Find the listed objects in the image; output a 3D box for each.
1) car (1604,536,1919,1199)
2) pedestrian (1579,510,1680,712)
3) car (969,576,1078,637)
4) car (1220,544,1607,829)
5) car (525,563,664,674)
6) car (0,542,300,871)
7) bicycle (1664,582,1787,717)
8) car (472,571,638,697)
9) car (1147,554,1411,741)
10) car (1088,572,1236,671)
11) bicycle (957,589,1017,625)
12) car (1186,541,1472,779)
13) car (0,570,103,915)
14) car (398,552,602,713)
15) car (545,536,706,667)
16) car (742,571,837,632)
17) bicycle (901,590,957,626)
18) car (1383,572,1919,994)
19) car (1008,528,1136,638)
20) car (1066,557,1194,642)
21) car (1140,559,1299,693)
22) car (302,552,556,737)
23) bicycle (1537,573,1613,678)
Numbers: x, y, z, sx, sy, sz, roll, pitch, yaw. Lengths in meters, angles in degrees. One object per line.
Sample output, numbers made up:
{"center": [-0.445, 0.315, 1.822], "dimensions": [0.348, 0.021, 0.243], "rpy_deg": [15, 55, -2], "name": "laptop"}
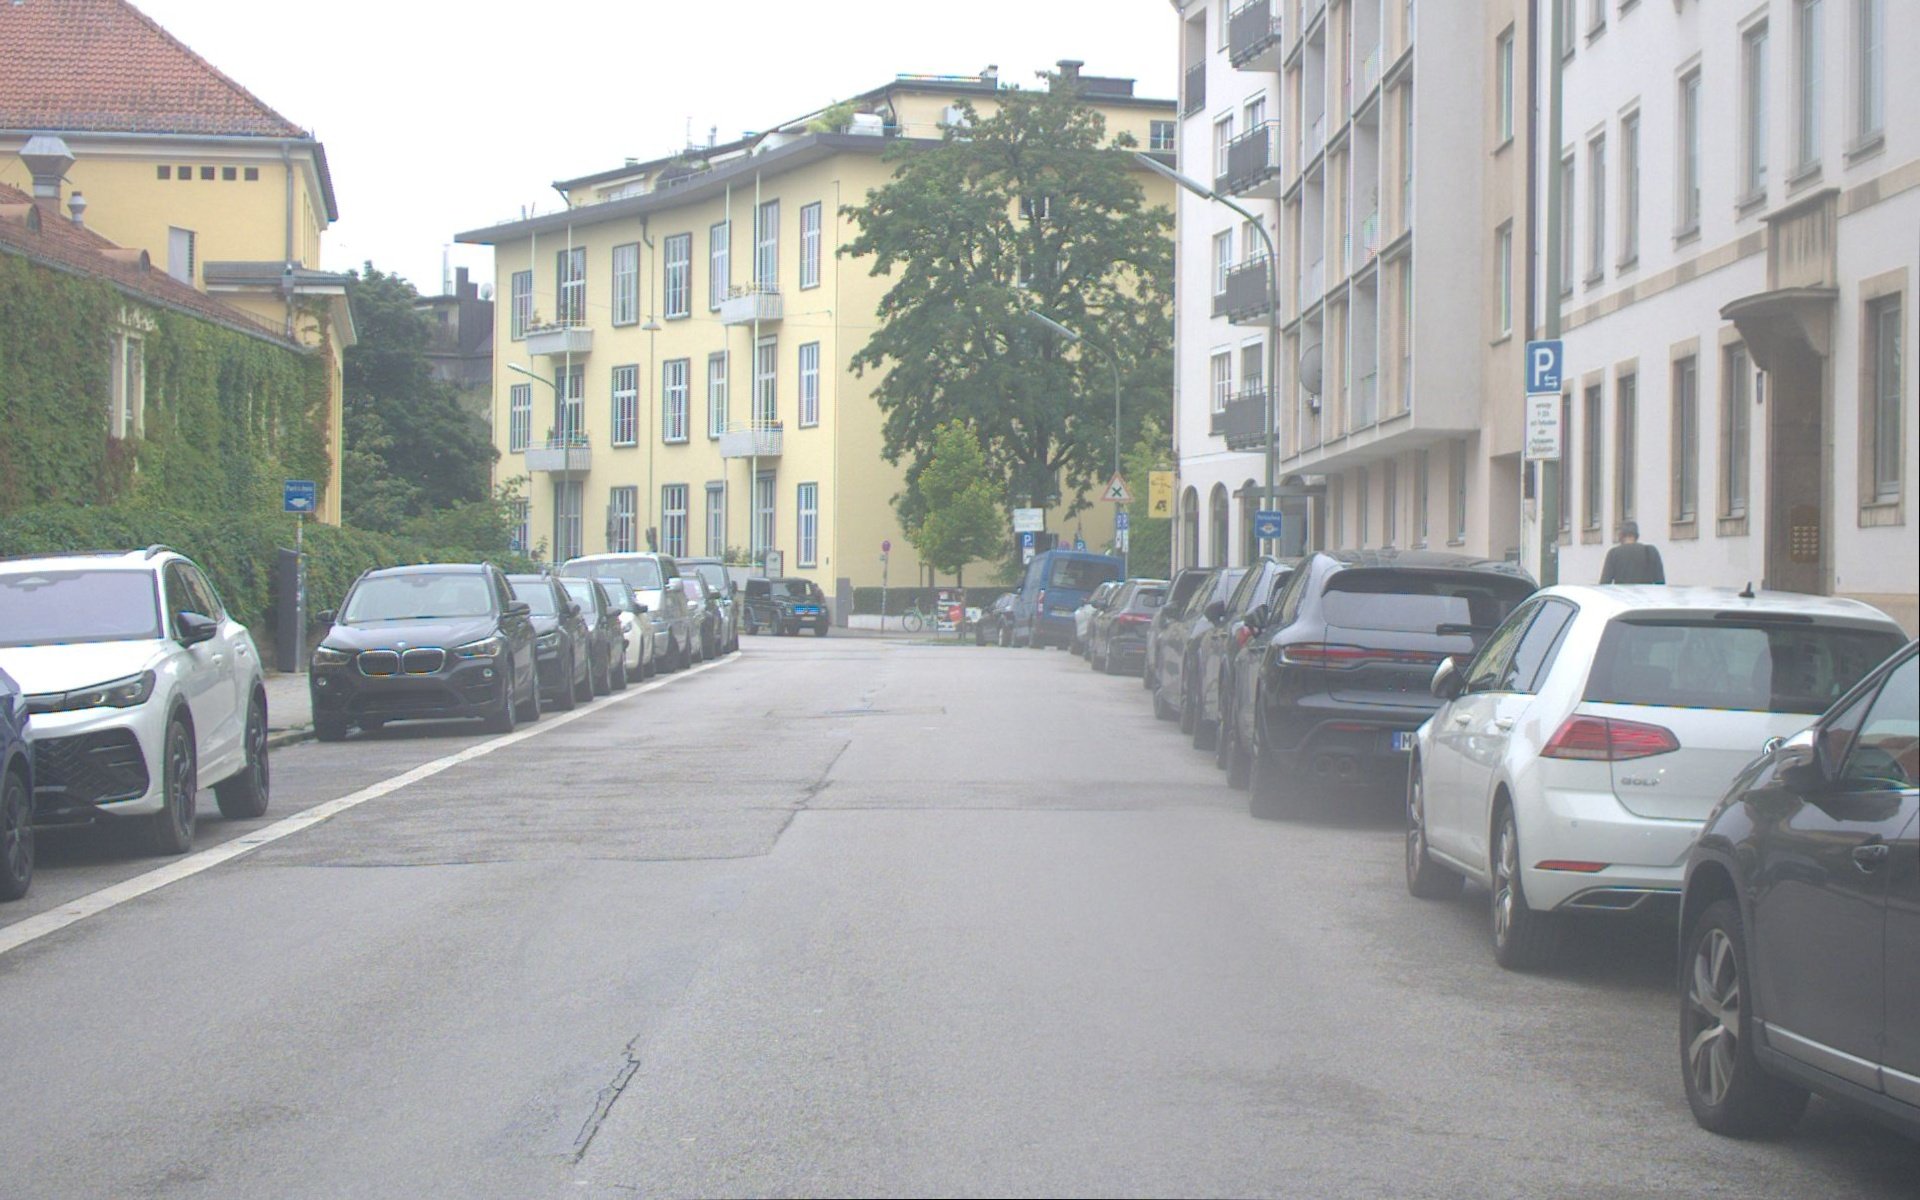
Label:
{"center": [2.896, 0.671, 8.025], "dimensions": [1.706, 1.587, 4.362], "rpy_deg": [2, 1, -3], "name": "car"}
{"center": [5.965, 0.105, 30.656], "dimensions": [0.723, 1.757, 0.904], "rpy_deg": [1, -1, 1], "name": "pedestrian"}
{"center": [1.560, 0.151, 85.910], "dimensions": [1.676, 1.384, 4.307], "rpy_deg": [4, -1, -12], "name": "car"}
{"center": [2.682, 0.460, 21.341], "dimensions": [1.839, 1.517, 4.709], "rpy_deg": [2, 0, 1], "name": "car"}
{"center": [-5.097, 0.241, 48.374], "dimensions": [1.591, 1.436, 4.019], "rpy_deg": [-2, 0, -2], "name": "car"}
{"center": [-5.004, 0.518, 19.562], "dimensions": [1.745, 1.628, 4.857], "rpy_deg": [-1, 0, -3], "name": "car"}
{"center": [7.244, 0.452, 32.616], "dimensions": [0.512, 1.218, 1.989], "rpy_deg": [0, 1, -7], "name": "bicycle"}
{"center": [-5.029, 0.400, 43.120], "dimensions": [1.603, 1.425, 4.252], "rpy_deg": [-3, 0, -1], "name": "car"}
{"center": [2.835, 0.379, 31.659], "dimensions": [1.802, 1.479, 5.320], "rpy_deg": [3, 0, -1], "name": "car"}
{"center": [3.045, 0.297, 52.760], "dimensions": [1.745, 1.383, 4.954], "rpy_deg": [2, 0, -2], "name": "car"}
{"center": [0.910, 0.236, 116.066], "dimensions": [1.923, 1.197, 0.595], "rpy_deg": [1, 0, 14], "name": "bicycle"}
{"center": [2.739, 0.405, 26.405], "dimensions": [1.645, 1.584, 4.634], "rpy_deg": [3, 0, 0], "name": "car"}
{"center": [-5.056, 0.687, 14.596], "dimensions": [1.703, 1.497, 4.495], "rpy_deg": [-5, 0, -1], "name": "car"}
{"center": [-5.026, 0.325, 38.045], "dimensions": [1.724, 1.624, 4.466], "rpy_deg": [-2, 0, -2], "name": "car"}
{"center": [-5.165, 0.012, 53.677], "dimensions": [1.887, 1.883, 4.774], "rpy_deg": [-2, 0, 1], "name": "car"}
{"center": [-5.792, 0.027, 116.348], "dimensions": [1.762, 1.868, 4.380], "rpy_deg": [5, -1, -22], "name": "car"}
{"center": [-1.058, 0.284, 117.279], "dimensions": [1.926, 1.197, 0.594], "rpy_deg": [1, 0, 37], "name": "bicycle"}
{"center": [2.875, 0.627, 14.221], "dimensions": [1.672, 1.424, 4.530], "rpy_deg": [2, 0, 0], "name": "car"}
{"center": [2.552, -0.350, 79.758], "dimensions": [2.078, 2.226, 5.245], "rpy_deg": [5, -2, -6], "name": "car"}
{"center": [3.332, -0.023, 68.066], "dimensions": [1.785, 1.528, 4.649], "rpy_deg": [4, 0, -6], "name": "car"}
{"center": [3.134, 0.296, 41.963], "dimensions": [1.650, 1.490, 2.881], "rpy_deg": [3, 0, 0], "name": "car"}
{"center": [-5.035, 0.382, 33.188], "dimensions": [1.789, 1.581, 4.819], "rpy_deg": [-2, 0, -2], "name": "car"}
{"center": [7.265, 0.287, 40.676], "dimensions": [0.529, 1.213, 2.103], "rpy_deg": [1, 0, 1], "name": "bicycle"}
